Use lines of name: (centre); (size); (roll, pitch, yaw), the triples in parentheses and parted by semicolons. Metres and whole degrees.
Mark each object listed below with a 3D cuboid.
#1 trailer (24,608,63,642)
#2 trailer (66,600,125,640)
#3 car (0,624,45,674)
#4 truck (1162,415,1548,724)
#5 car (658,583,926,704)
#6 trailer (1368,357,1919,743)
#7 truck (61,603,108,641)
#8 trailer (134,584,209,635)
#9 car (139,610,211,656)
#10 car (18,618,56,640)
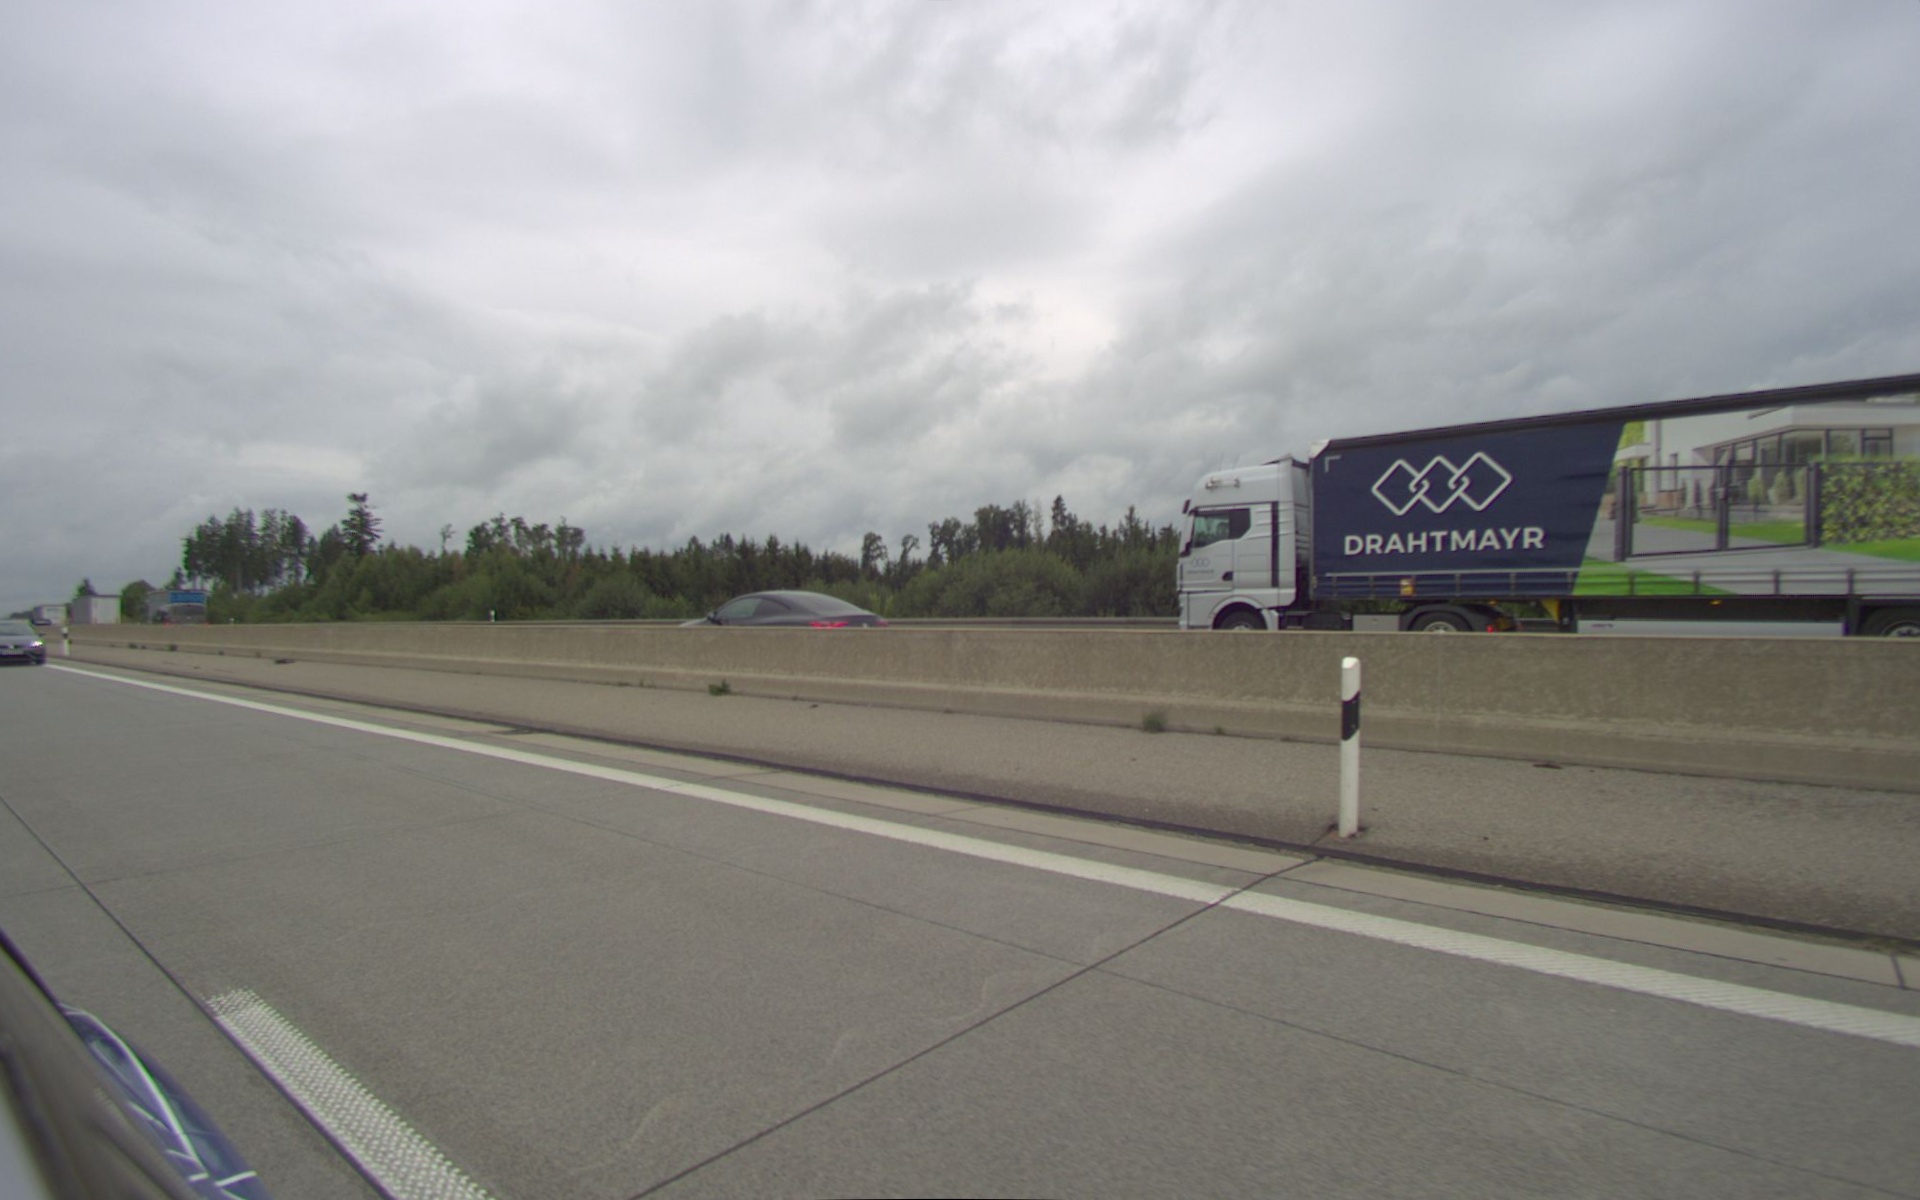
trailer: (-128.700, 3.564, 141.968); (13.636, 4.660, 2.884); (-2, -1, 43)
trailer: (-95.215, 2.255, 111.328); (12.927, 4.233, 3.445); (-2, -1, 43)
car: (-30.757, 1.563, 32.349); (4.569, 1.492, 1.766); (-2, -1, 42)
truck: (7.354, -0.416, 19.145); (5.865, 4.855, 3.550); (-2, -1, 41)
car: (-2.902, 0.680, 16.847); (4.524, 1.751, 1.973); (-2, -1, 41)
trailer: (12.979, -0.627, 14.244); (12.901, 4.836, 3.561); (-2, -1, 41)
truck: (-100.859, 2.500, 116.590); (6.493, 4.214, 3.432); (-2, -1, 43)
trailer: (-65.359, 0.858, 83.753); (12.396, 3.866, 2.819); (-2, -1, 42)
car: (-39.015, 1.623, 50.277); (4.861, 2.163, 1.972); (-2, -1, 42)
car: (-74.861, 2.368, 82.068); (3.534, 1.696, 1.972); (-2, -1, 42)
